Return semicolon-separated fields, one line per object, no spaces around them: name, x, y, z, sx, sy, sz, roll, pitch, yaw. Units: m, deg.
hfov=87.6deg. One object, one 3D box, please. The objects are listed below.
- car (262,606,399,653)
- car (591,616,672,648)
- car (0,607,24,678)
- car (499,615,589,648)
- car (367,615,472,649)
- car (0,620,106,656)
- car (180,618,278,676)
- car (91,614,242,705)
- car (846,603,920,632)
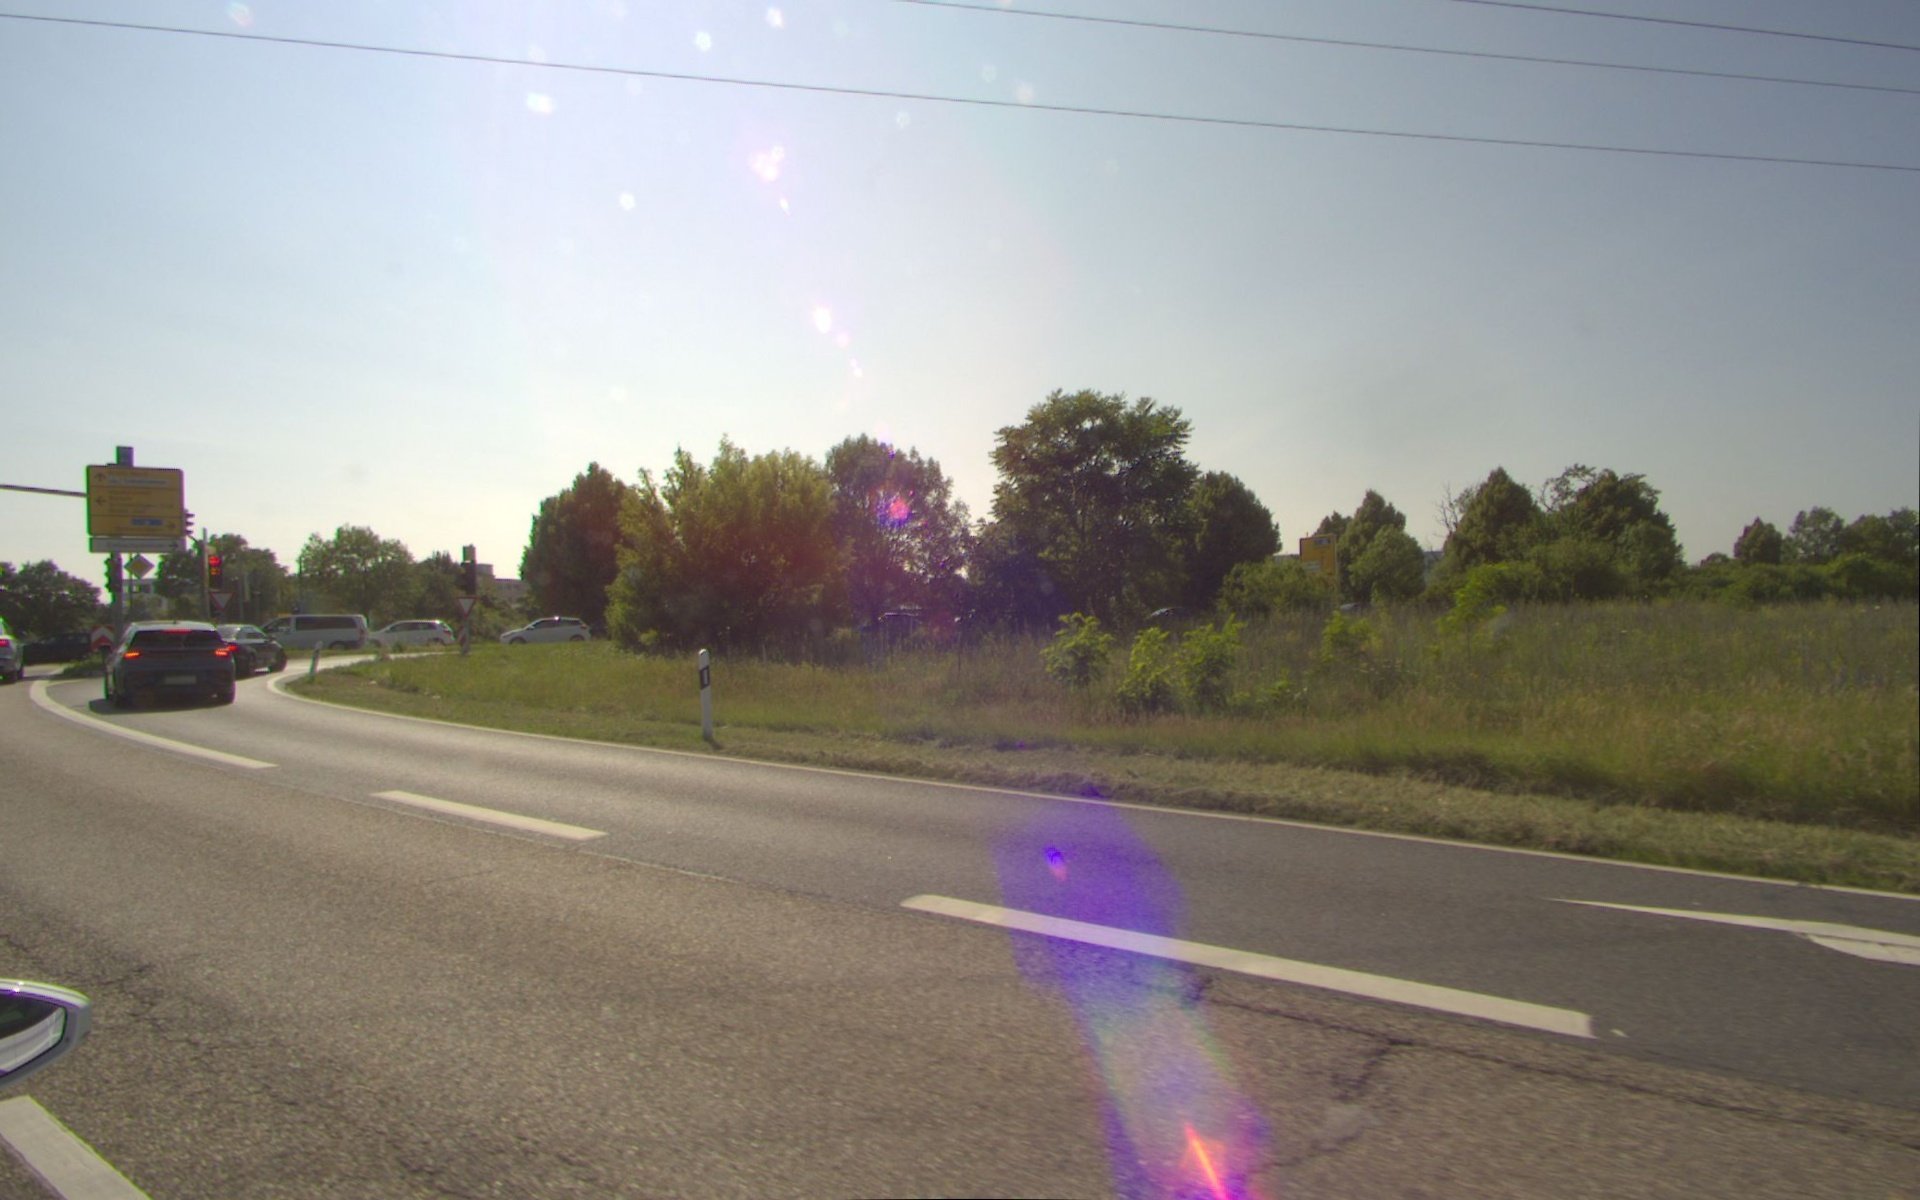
car;-27.551;1.292;44.059;4.871;1.943;1.992;1;-1;-26
car;-17.021;1.642;51.889;3.817;1.539;1.802;-1;0;-24
car;-24.669;1.050;25.132;1.621;1.698;3.715;1;-2;-42
car;-19.464;1.447;46.981;3.847;1.484;1.718;0;-1;-22
car;-25.877;1.519;48.112;4.265;1.539;1.802;-1;0;-24
car;-39.172;1.611;42.515;4.036;1.434;1.711;0;-1;-23
car;-19.741;1.216;27.185;1.622;1.404;3.980;-1;0;-29
car;-15.383;1.055;19.339;4.056;1.537;1.762;0;0;44
car;-4.405;0.998;57.196;3.817;1.539;1.802;-1;0;-23
